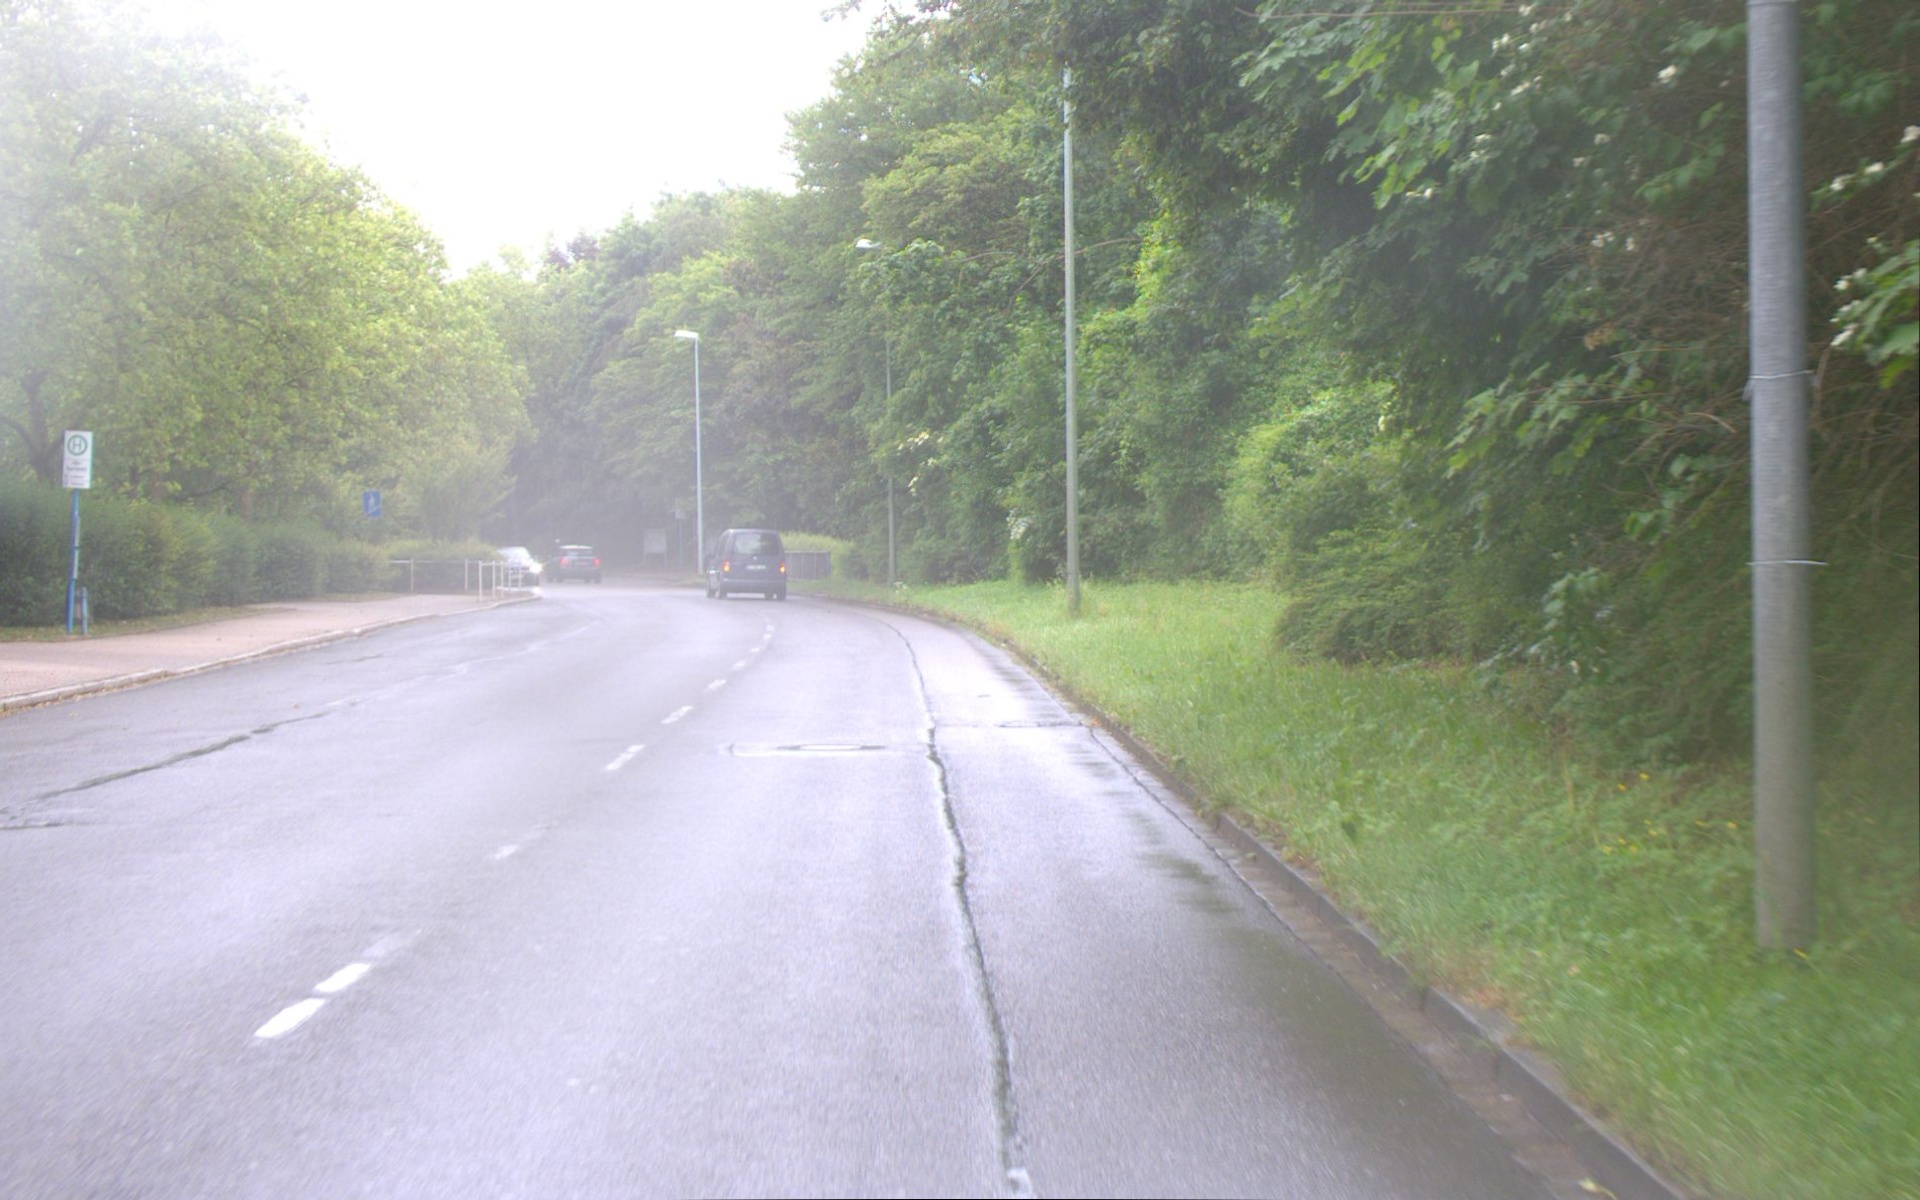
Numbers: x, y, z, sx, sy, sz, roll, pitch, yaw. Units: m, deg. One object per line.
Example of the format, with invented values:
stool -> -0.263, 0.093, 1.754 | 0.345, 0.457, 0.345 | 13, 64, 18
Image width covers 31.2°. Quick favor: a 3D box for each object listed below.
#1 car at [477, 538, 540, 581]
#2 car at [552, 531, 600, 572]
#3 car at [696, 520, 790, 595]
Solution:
car -> -16.354, -1.465, 124.462 | 1.826, 1.460, 4.001 | -2, 1, -13
car -> -14.979, -1.899, 134.289 | 1.794, 1.505, 4.001 | -2, 2, -6
car -> -5.684, -1.125, 89.830 | 1.985, 1.919, 4.001 | 0, 1, -10
